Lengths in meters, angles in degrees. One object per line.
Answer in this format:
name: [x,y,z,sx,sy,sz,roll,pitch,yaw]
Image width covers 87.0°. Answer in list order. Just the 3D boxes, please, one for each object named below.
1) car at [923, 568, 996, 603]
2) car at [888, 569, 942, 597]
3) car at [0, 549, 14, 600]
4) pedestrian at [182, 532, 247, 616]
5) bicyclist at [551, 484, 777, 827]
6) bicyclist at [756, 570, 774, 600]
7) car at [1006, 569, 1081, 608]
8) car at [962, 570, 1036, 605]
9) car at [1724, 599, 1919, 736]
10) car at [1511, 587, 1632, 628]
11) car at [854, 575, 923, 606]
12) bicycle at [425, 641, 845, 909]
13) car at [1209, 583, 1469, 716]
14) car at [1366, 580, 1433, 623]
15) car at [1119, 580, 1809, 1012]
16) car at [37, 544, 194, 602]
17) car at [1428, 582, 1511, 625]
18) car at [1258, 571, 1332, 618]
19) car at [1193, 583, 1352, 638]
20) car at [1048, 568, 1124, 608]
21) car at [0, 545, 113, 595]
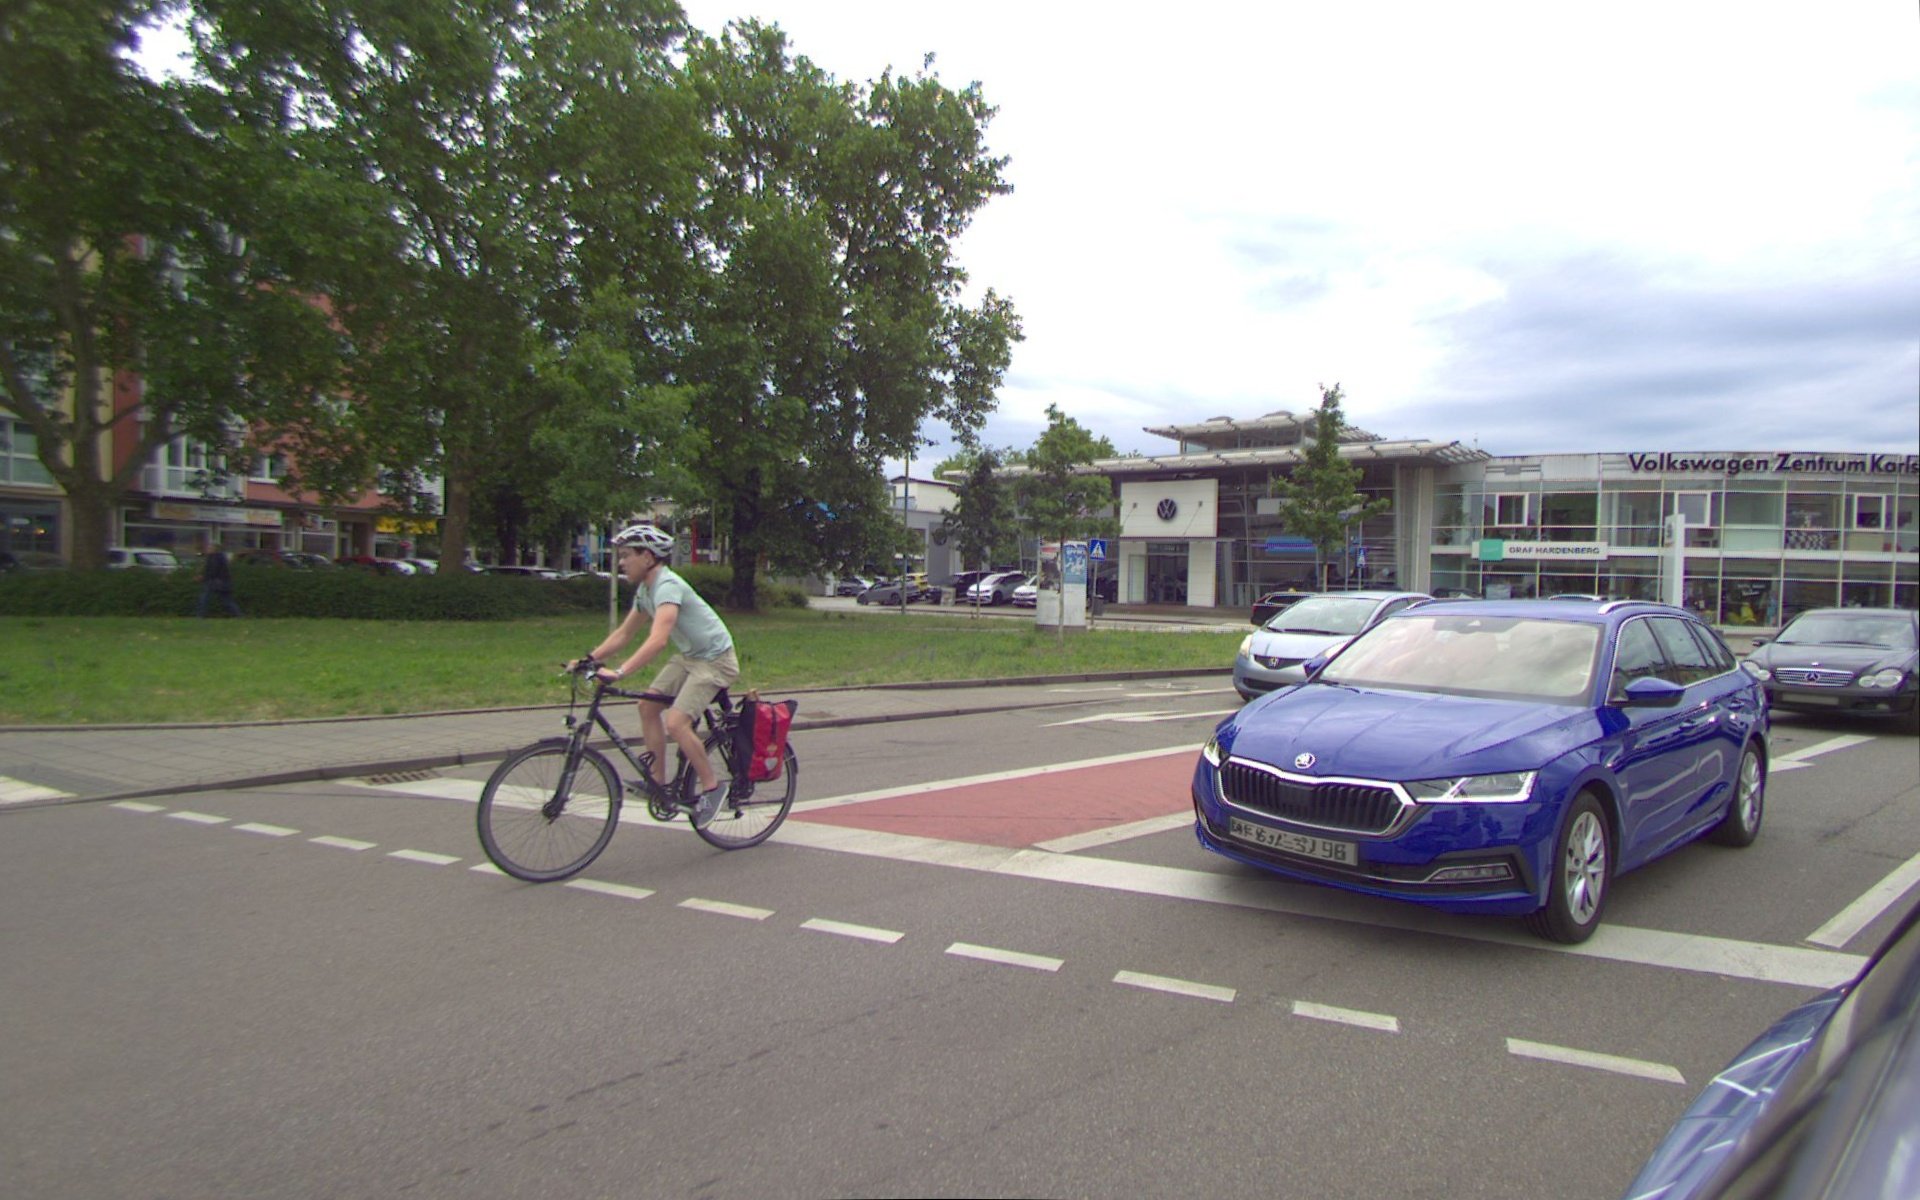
car: [0.006,-0.877,57.613,1.949,1.529,4.174,3,8,40]
car: [-2.733,-1.032,61.394,3.110,1.530,1.421,3,6,41]
car: [-29.745,-0.820,28.977,3.938,1.459,1.994,3,2,12]
pedestrian: [-16.941,-0.592,22.999,0.859,1.841,0.889,3,1,28]
bicyclist: [-1.589,0.258,5.432,0.917,1.638,0.790,0,0,-40]
bicyclist: [-10.206,-0.789,52.987,0.686,1.515,0.552,2,1,19]
car: [4.503,-0.668,54.310,1.949,1.615,4.174,3,8,40]
car: [2.215,-0.731,56.022,1.949,1.483,4.173,3,7,40]
car: [11.206,0.705,12.473,4.341,1.387,1.770,0,1,-38]
car: [24.470,0.267,40.564,3.894,1.459,1.706,3,2,43]
car: [-4.245,-0.593,59.610,4.133,1.530,1.632,3,6,41]
bicycle: [-1.653,0.803,5.370,1.980,1.092,0.762,0,0,-40]
car: [5.129,0.554,13.456,3.867,1.502,1.707,0,1,-43]
car: [18.286,0.006,42.265,1.929,1.543,4.211,2,3,15]
car: [3.100,0.660,5.642,4.673,1.454,1.769,0,1,-41]
car: [-27.847,-0.903,33.434,3.938,1.745,1.994,2,1,12]
car: [20.786,0.112,41.452,1.761,1.580,4.026,2,2,8]
car: [14.962,-0.285,45.087,1.944,1.662,4.621,2,6,34]
car: [10.709,0.307,34.918,4.862,1.562,1.864,4,2,41]
car: [6.581,-0.650,52.392,1.949,1.472,4.175,3,9,40]
car: [-28.449,-0.938,30.982,3.938,1.351,1.831,3,2,12]
